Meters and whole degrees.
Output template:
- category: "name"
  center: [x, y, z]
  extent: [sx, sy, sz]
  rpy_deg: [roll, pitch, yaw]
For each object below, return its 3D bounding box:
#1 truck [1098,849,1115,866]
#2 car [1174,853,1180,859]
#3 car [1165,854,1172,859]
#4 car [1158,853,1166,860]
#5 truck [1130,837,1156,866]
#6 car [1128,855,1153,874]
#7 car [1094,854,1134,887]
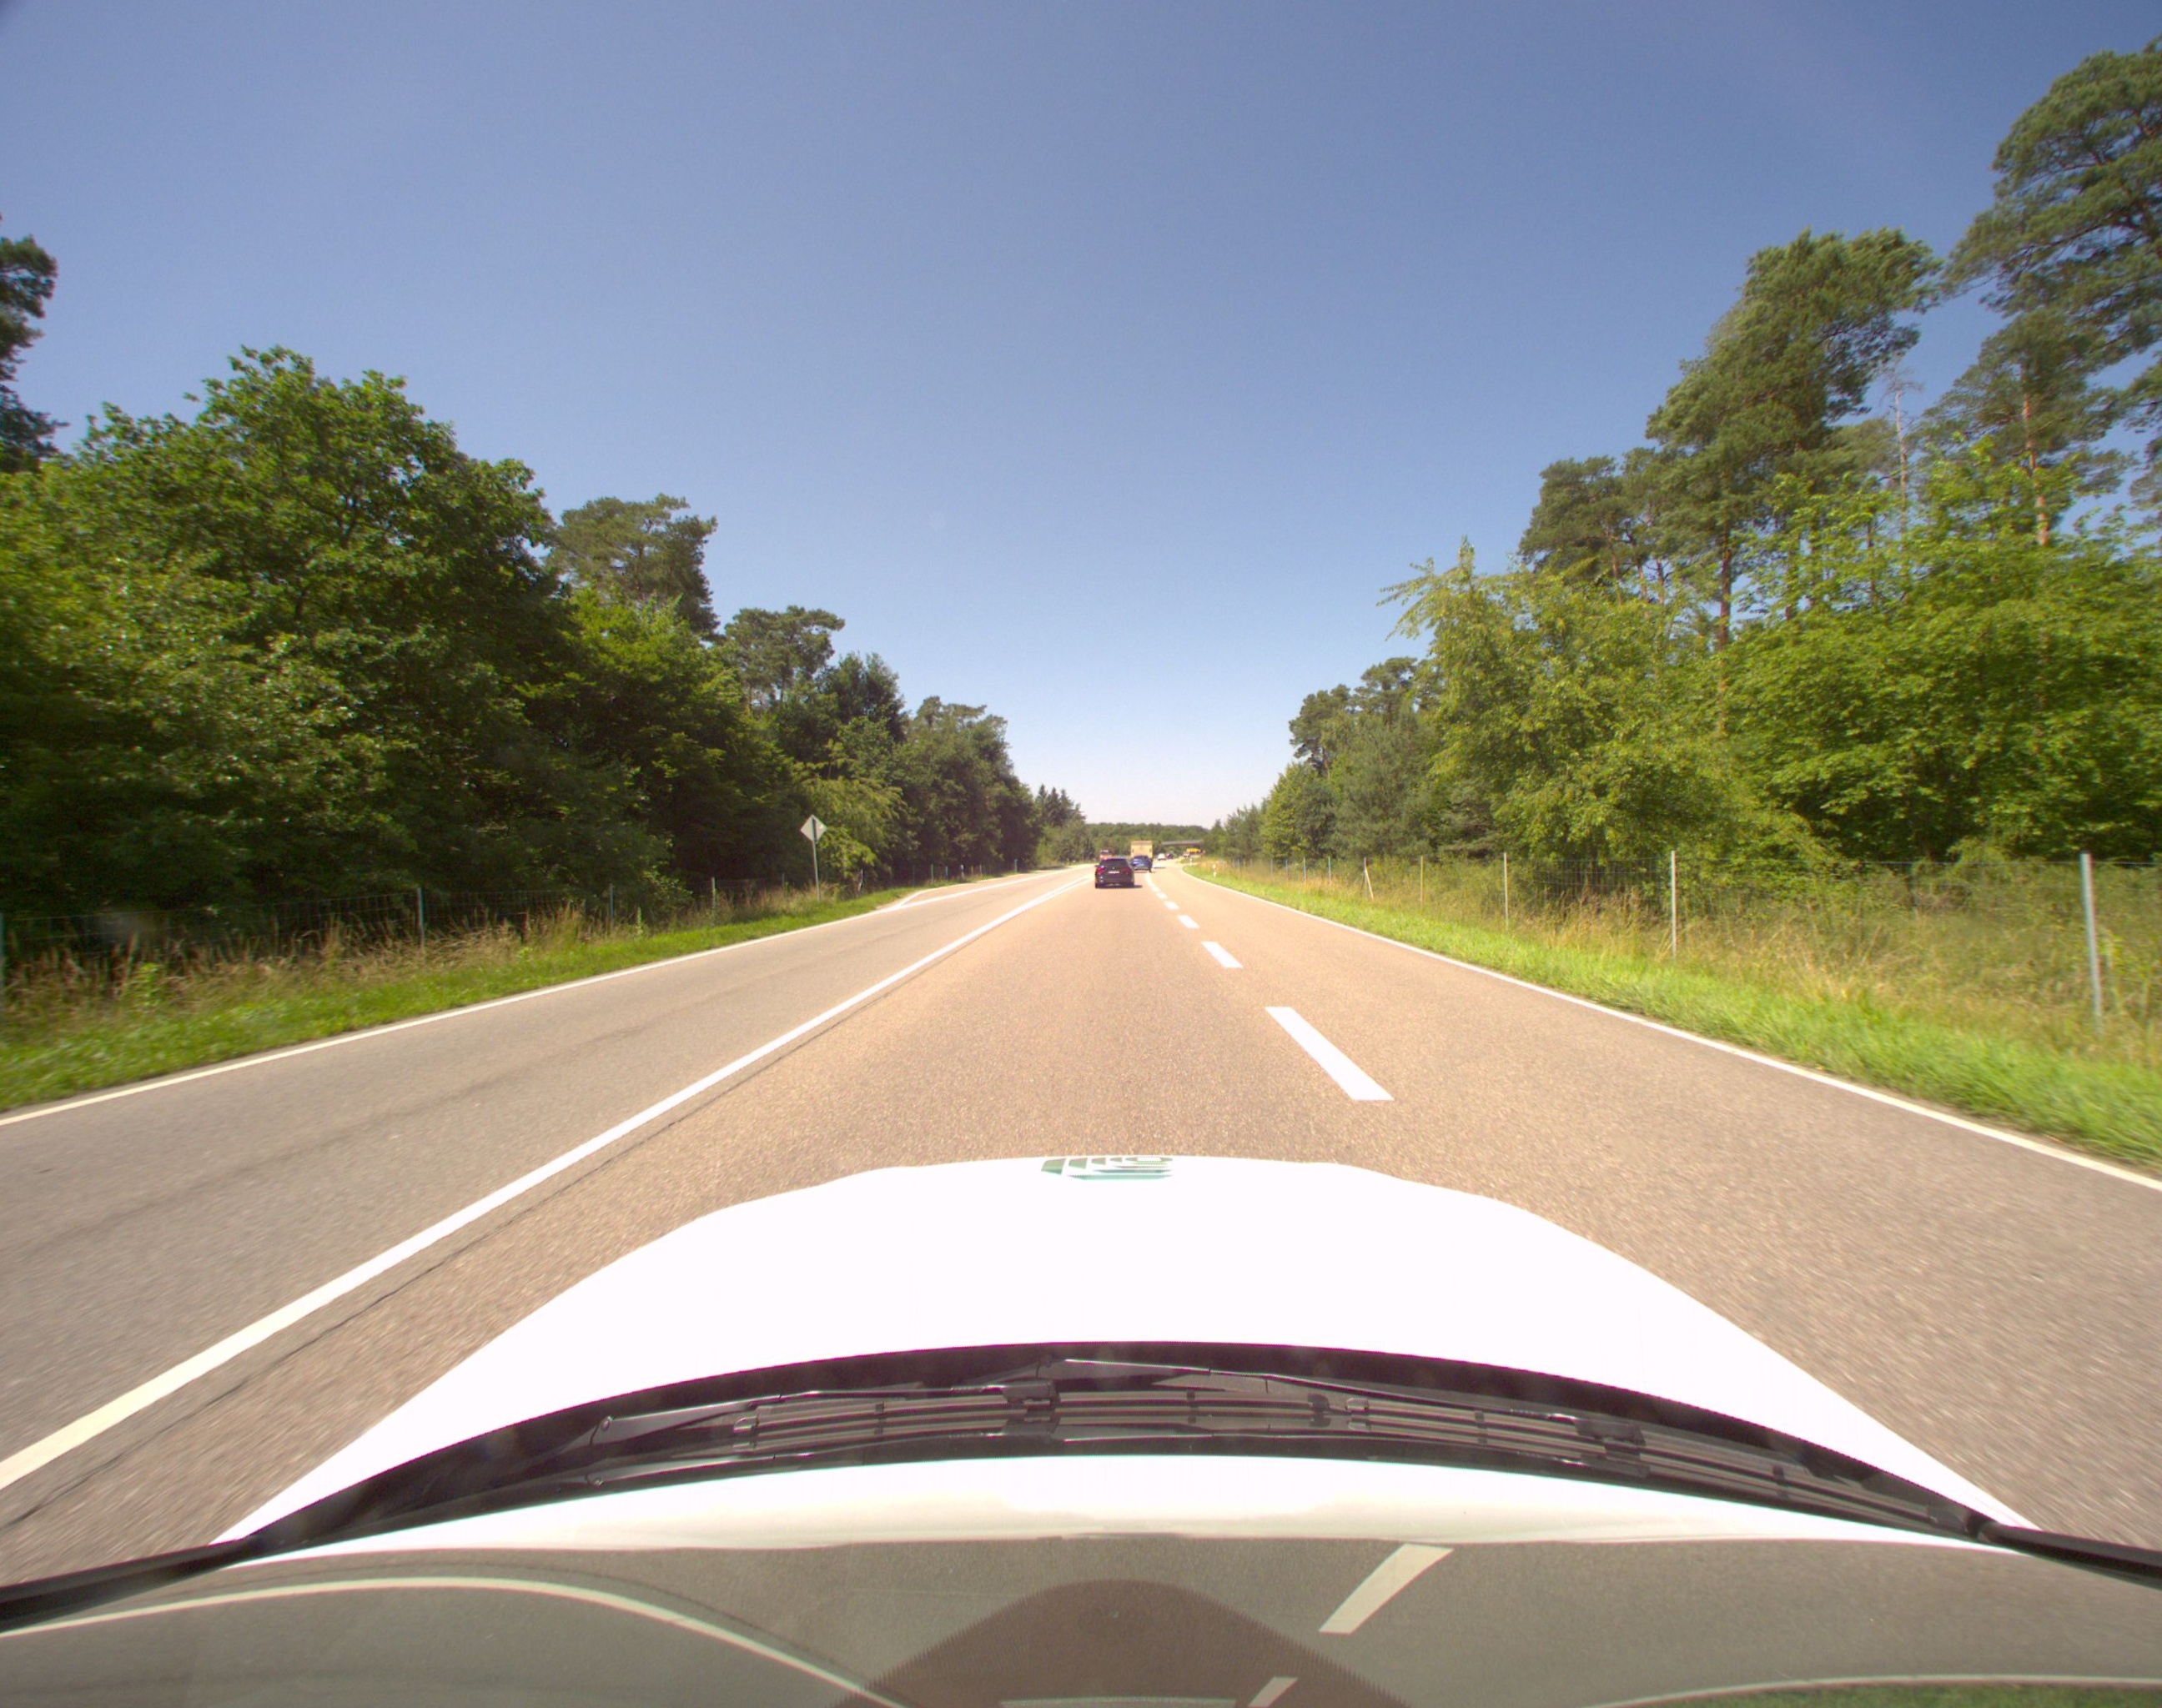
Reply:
- category: "truck"
  center: [4.326, 0.524, 136.883]
  extent: [2.386, 2.722, 6.562]
  rpy_deg: [-1, 0, 6]
- category: "car"
  center: [30.734, 0.673, 260.889]
  extent: [1.983, 1.636, 4.007]
  rpy_deg: [-2, 0, 6]
- category: "car"
  center: [24.867, 0.626, 232.028]
  extent: [1.984, 1.420, 4.005]
  rpy_deg: [0, 0, 5]
- category: "car"
  center: [19.992, 0.684, 202.102]
  extent: [1.854, 1.605, 4.005]
  rpy_deg: [-1, 0, 5]
- category: "truck"
  center: [7.392, -0.283, 98.312]
  extent: [2.953, 3.387, 6.443]
  rpy_deg: [-1, 0, 3]
- category: "car"
  center: [5.448, 0.938, 74.437]
  extent: [1.941, 1.542, 4.000]
  rpy_deg: [-2, 0, 0]
- category: "car"
  center: [1.573, 0.775, 39.467]
  extent: [1.814, 1.470, 4.002]
  rpy_deg: [-1, 0, 2]
